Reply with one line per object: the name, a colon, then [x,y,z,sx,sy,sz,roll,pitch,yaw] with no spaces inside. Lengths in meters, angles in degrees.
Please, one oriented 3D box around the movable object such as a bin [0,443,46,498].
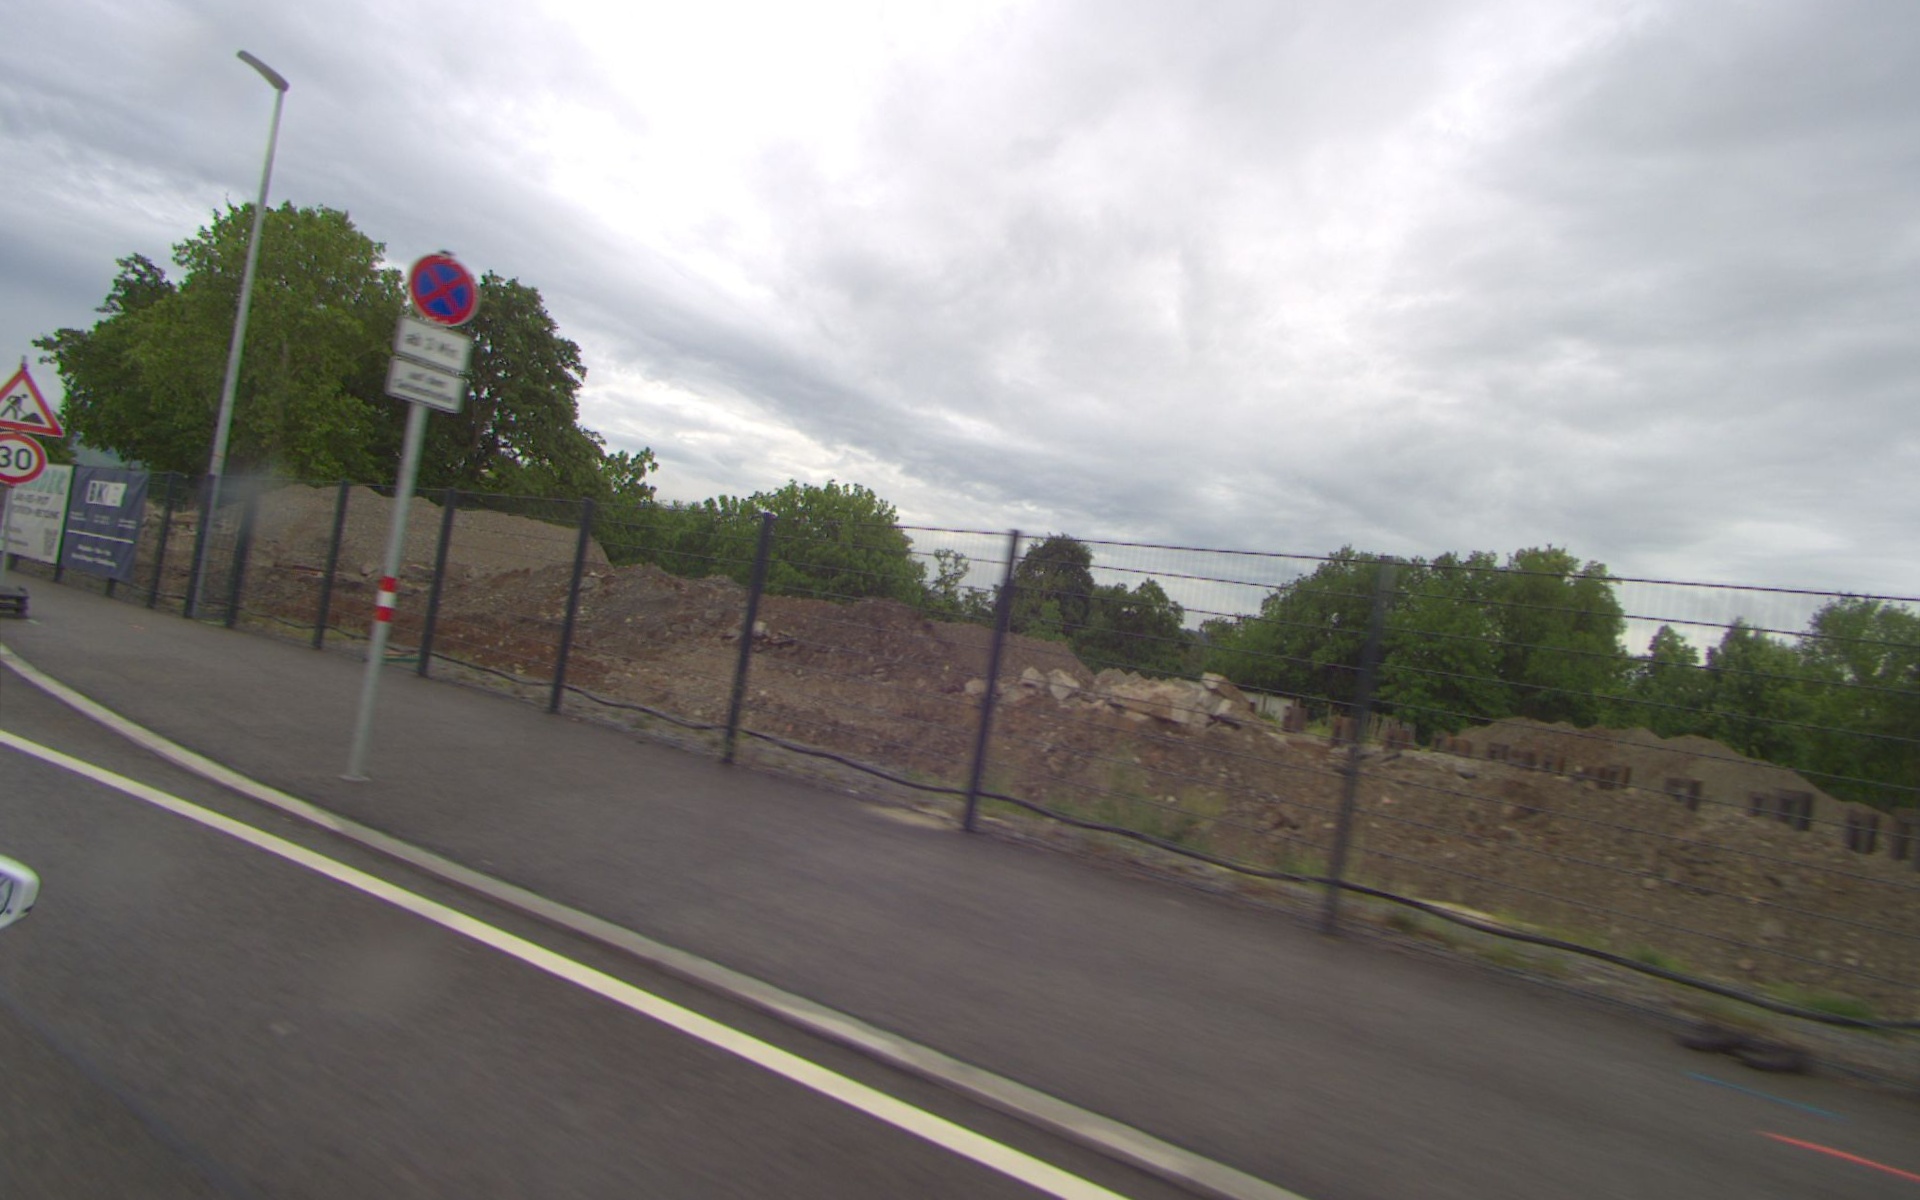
movable object such as a bin: [-121.429,-16.700,124.730,3.440,6.065,11.230,6,-2,39]
